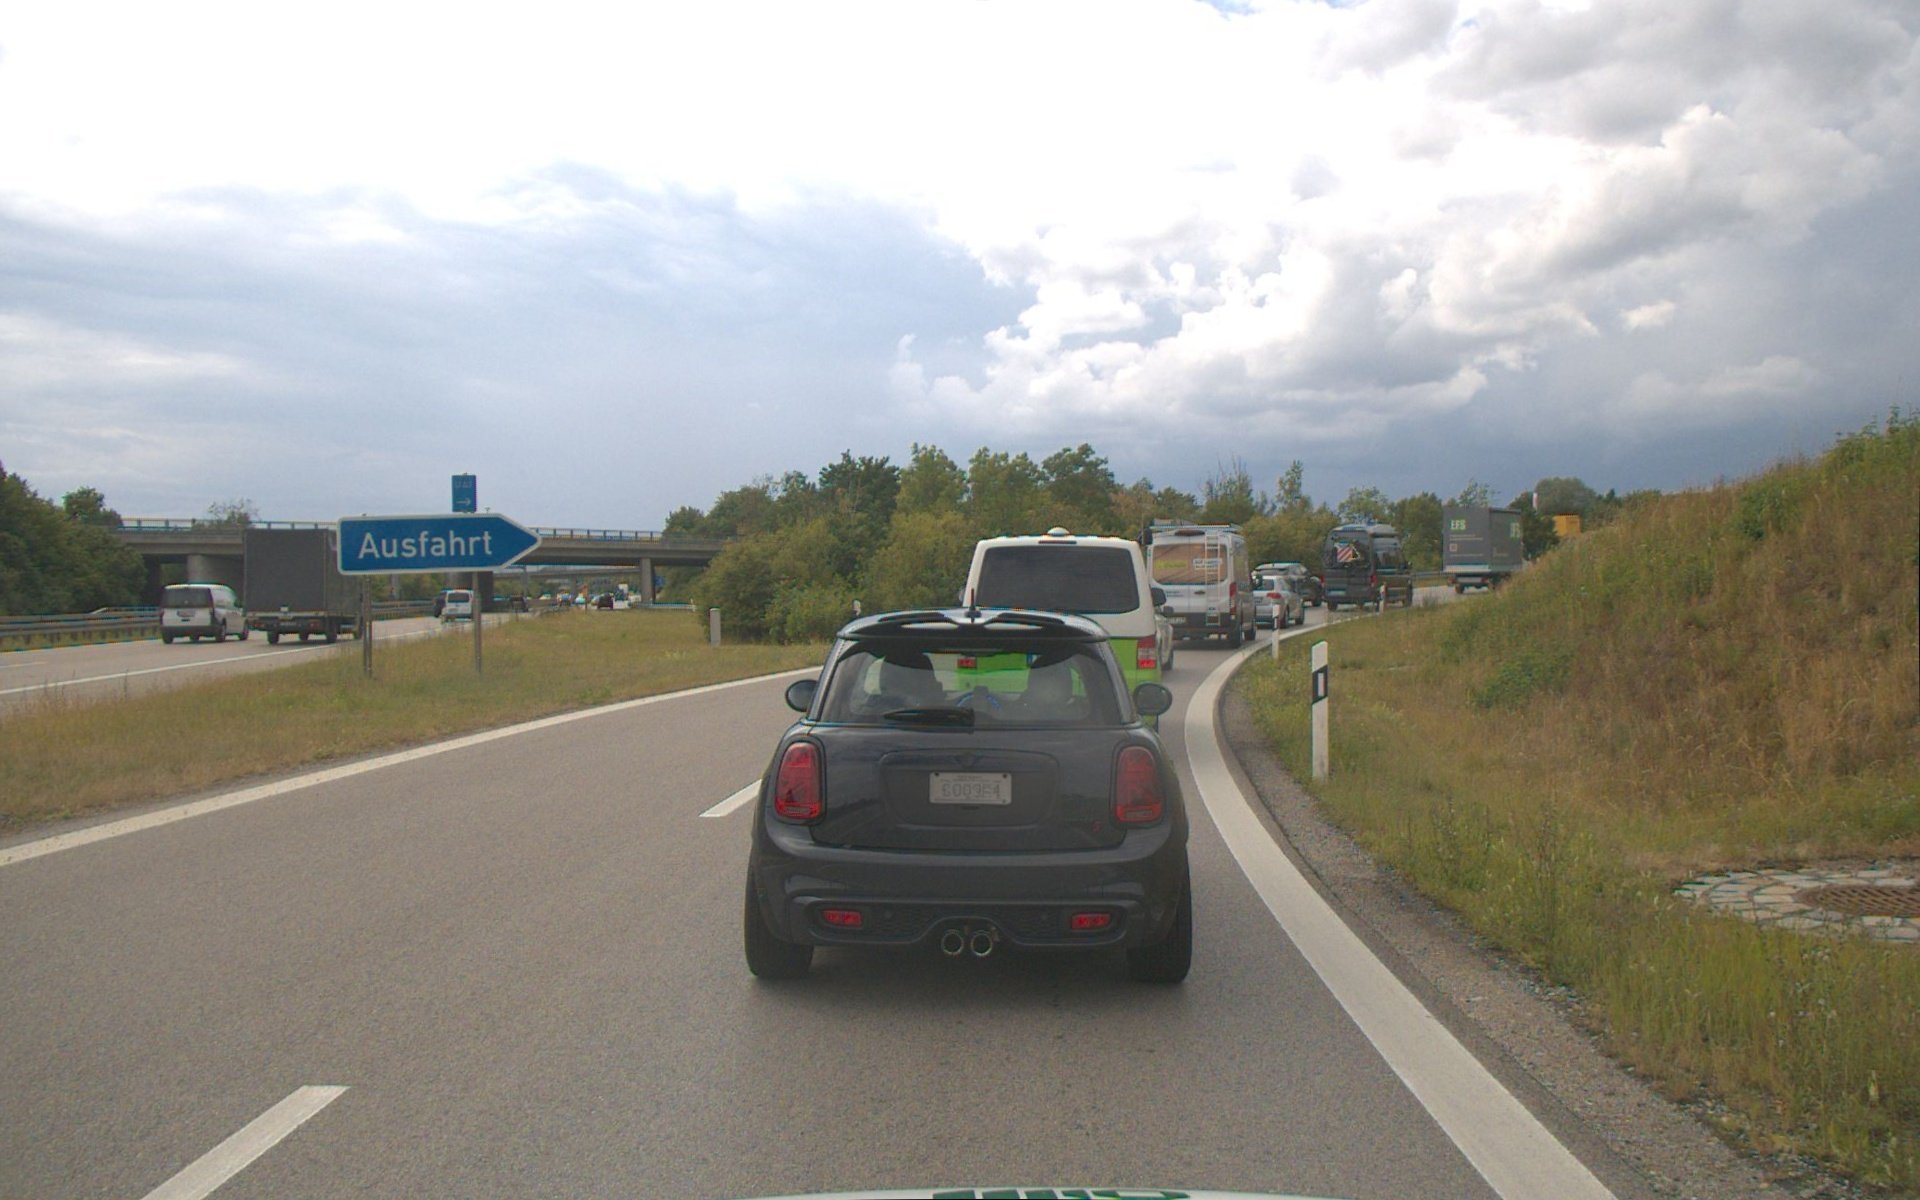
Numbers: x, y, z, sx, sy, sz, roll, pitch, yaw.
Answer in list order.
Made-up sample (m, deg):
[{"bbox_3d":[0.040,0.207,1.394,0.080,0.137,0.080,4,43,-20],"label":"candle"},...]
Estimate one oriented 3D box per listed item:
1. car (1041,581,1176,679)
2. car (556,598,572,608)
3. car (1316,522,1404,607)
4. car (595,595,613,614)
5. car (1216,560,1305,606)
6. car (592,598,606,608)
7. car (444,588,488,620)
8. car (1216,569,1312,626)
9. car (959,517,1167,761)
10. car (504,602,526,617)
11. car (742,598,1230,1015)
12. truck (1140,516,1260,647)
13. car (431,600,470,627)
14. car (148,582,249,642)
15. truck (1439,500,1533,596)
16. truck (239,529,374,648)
[{"bbox_3d":[2.429,0.439,26.251,1.724,1.423,3.728,-1,0,11],"label":"car"},{"bbox_3d":[-56.260,0.470,235.000,1.747,1.423,4.297,-1,0,-9],"label":"car"},{"bbox_3d":[13.900,-1.209,57.346,2.064,2.845,3.995,1,1,28],"label":"car"},{"bbox_3d":[-40.068,0.513,186.099,1.958,2.049,3.988,1,-1,-12],"label":"car"},{"bbox_3d":[10.796,-0.594,59.167,1.799,1.593,4.490,0,0,29],"label":"car"},{"bbox_3d":[-52.688,0.444,241.401,1.747,1.423,4.541,-1,0,-9],"label":"car"},{"bbox_3d":[-28.715,0.205,96.263,1.842,1.782,4.477,-1,0,-9],"label":"car"},{"bbox_3d":[8.597,-0.082,46.549,1.828,1.536,3.999,0,0,23],"label":"car"},{"bbox_3d":[1.055,0.316,16.010,1.746,2.049,4.003,0,0,5],"label":"car"},{"bbox_3d":[-43.189,0.923,160.540,1.691,1.449,4.786,-1,0,-10],"label":"car"},{"bbox_3d":[0.092,0.717,7.616,1.692,1.438,3.725,0,0,0],"label":"car"},{"bbox_3d":[5.444,-0.425,36.954,2.132,2.705,5.113,-1,1,14],"label":"truck"},{"bbox_3d":[-36.071,0.932,117.246,1.957,1.817,5.399,-1,0,-10],"label":"car"},{"bbox_3d":[-24.694,0.376,53.766,1.957,1.842,3.991,-1,0,-10],"label":"car"},{"bbox_3d":[23.308,-2.228,73.147,2.191,3.975,5.993,0,-1,36],"label":"truck"},{"bbox_3d":[-20.549,-0.330,52.455,2.423,3.430,7.903,-1,0,-10],"label":"truck"}]
